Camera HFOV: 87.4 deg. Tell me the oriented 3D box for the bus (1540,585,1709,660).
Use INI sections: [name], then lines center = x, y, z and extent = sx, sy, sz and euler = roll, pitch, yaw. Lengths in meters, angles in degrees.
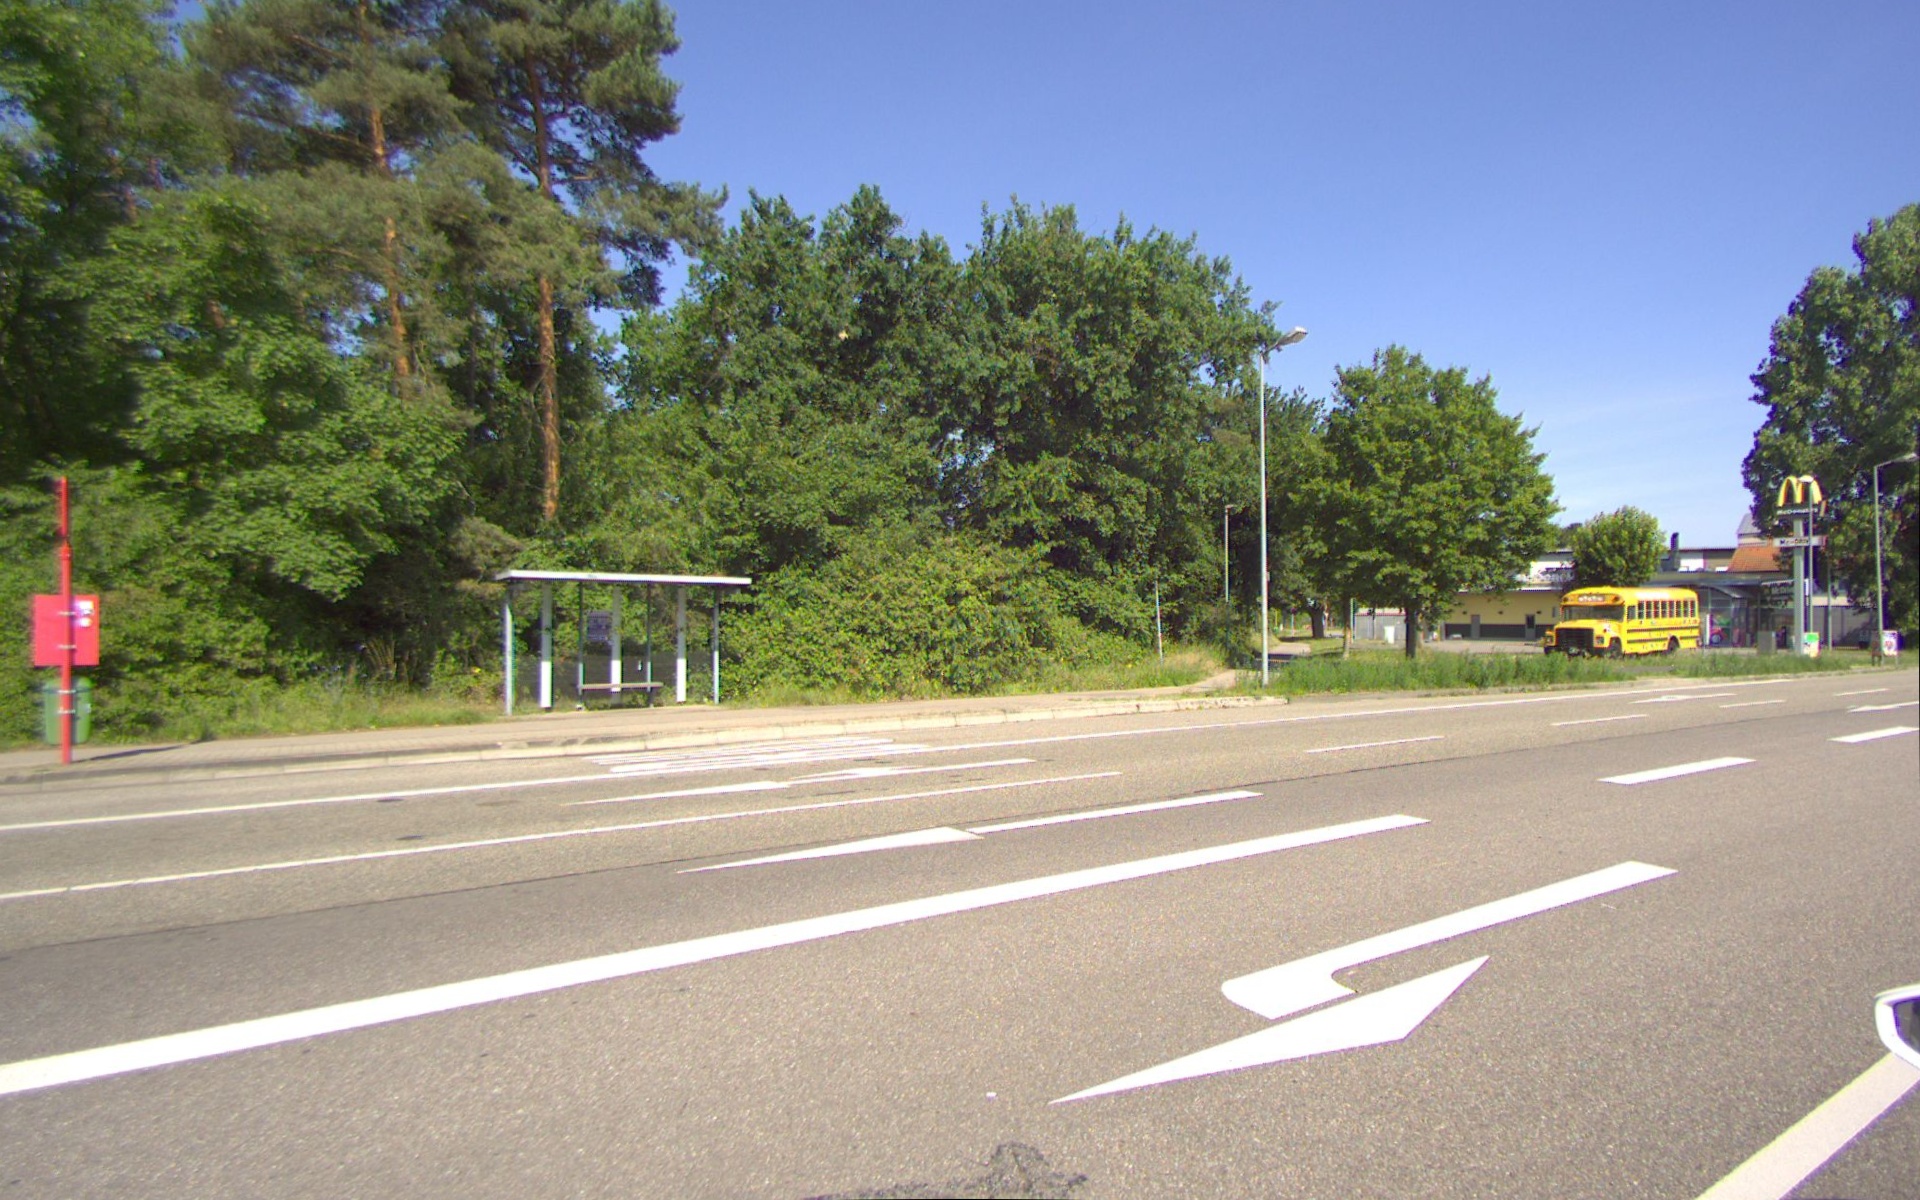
[bus]
center = 26.532, 0.906, 39.909
extent = 8.908, 2.715, 2.562
euler = 2, 0, -35
